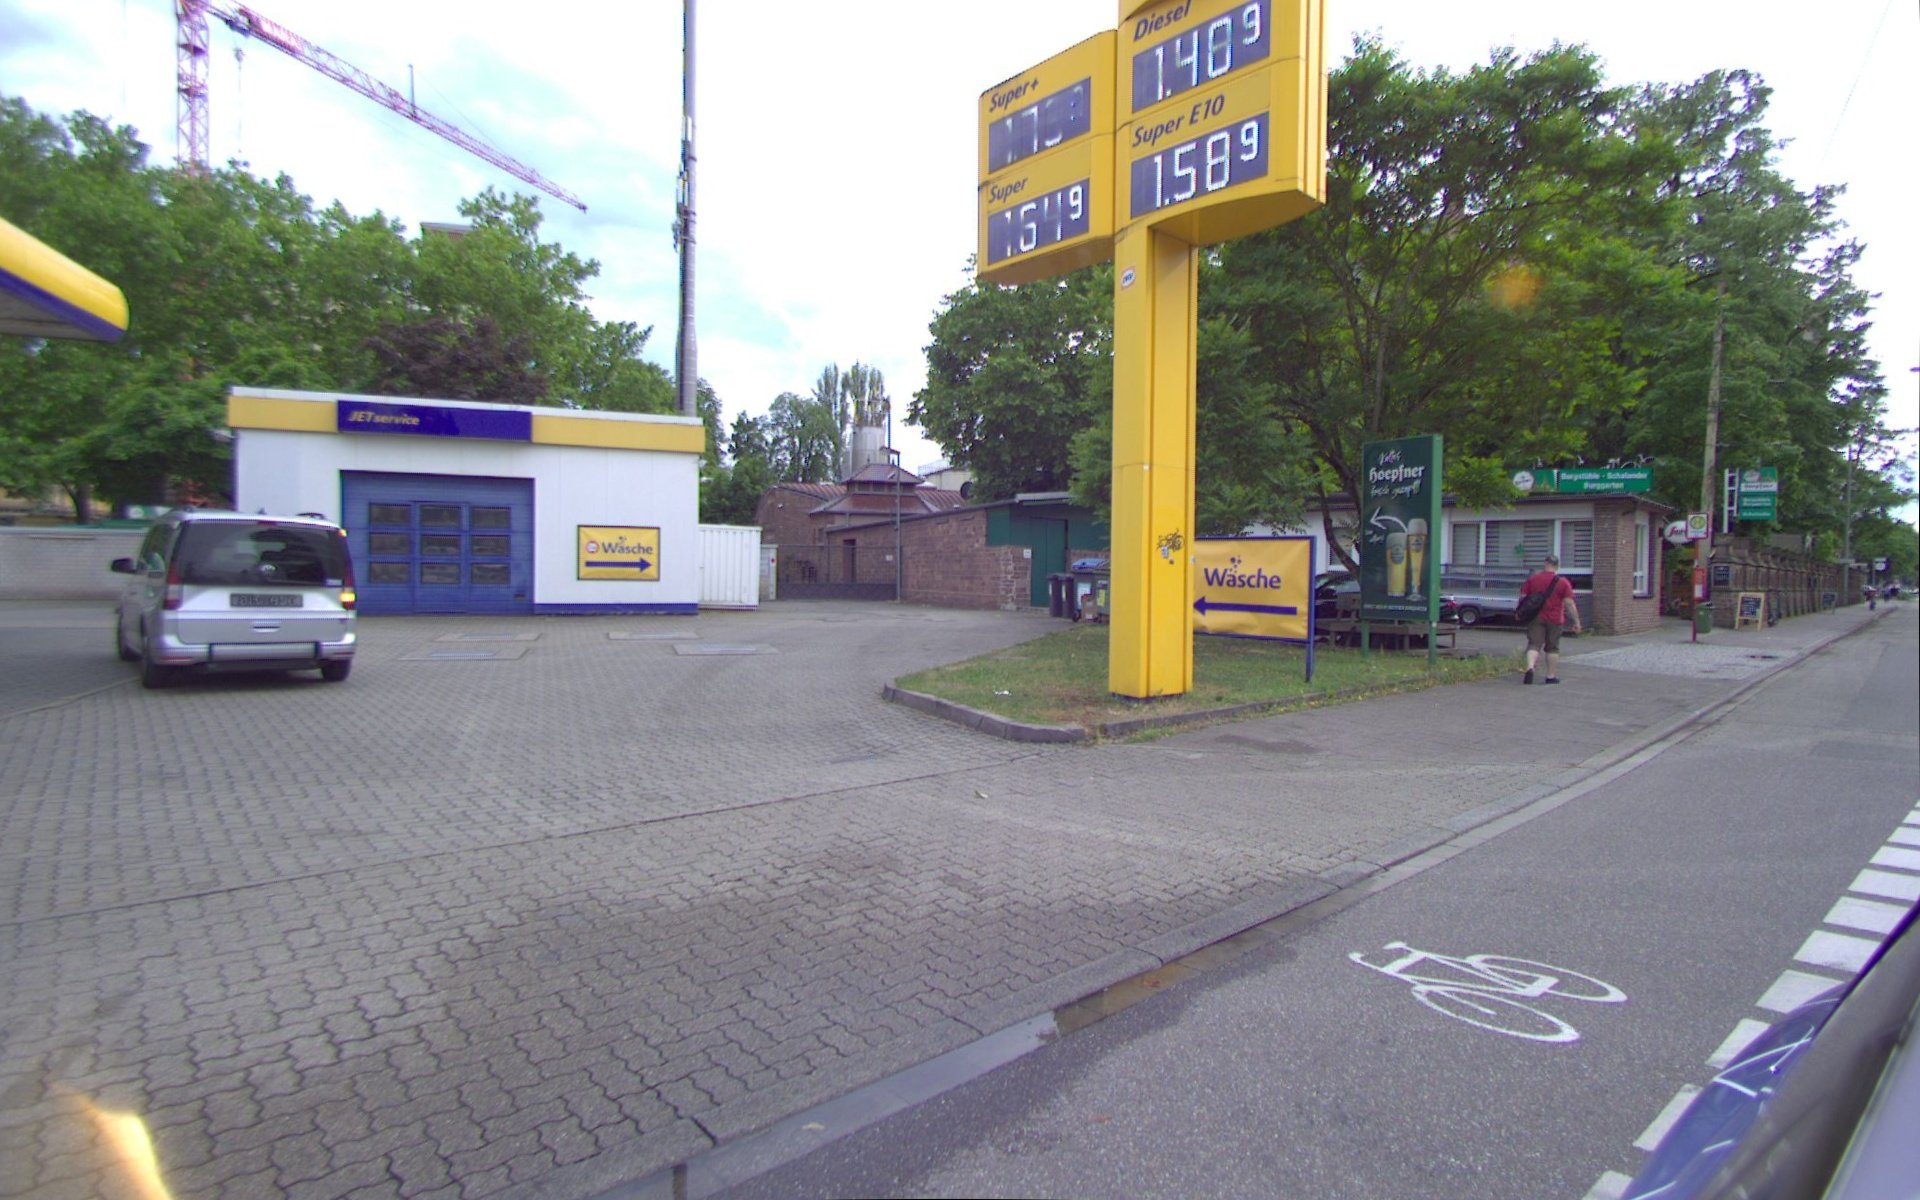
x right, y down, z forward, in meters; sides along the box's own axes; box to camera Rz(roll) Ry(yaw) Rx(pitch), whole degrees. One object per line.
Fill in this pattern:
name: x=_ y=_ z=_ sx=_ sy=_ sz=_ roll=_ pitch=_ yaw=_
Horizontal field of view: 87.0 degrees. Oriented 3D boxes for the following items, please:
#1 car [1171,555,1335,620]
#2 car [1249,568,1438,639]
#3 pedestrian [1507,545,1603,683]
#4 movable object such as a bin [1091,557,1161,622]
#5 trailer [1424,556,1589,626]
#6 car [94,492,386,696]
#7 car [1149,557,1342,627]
car: x=8.178 y=-0.365 z=28.446 sx=1.967 sy=1.687 sz=3.990 roll=-1 pitch=1 yaw=-44
car: x=7.854 y=0.012 z=20.604 sx=3.931 sy=1.304 sz=1.997 roll=-1 pitch=1 yaw=-41
pedestrian: x=8.037 y=0.159 z=13.718 sx=0.859 sy=1.768 sz=0.846 roll=3 pitch=4 yaw=20
movable object such as a bin: x=3.498 y=-0.238 z=21.451 sx=1.136 sy=1.336 sz=1.123 roll=0 pitch=1 yaw=-10
trailer: x=13.750 y=-0.290 z=25.571 sx=1.745 sy=1.549 sz=3.286 roll=-4 pitch=6 yaw=-44
car: x=-8.359 y=-0.210 z=11.562 sx=4.516 sy=1.865 sz=1.956 roll=5 pitch=4 yaw=44
car: x=6.577 y=-0.206 z=23.577 sx=3.921 sy=1.536 sz=1.828 roll=0 pitch=1 yaw=-4
